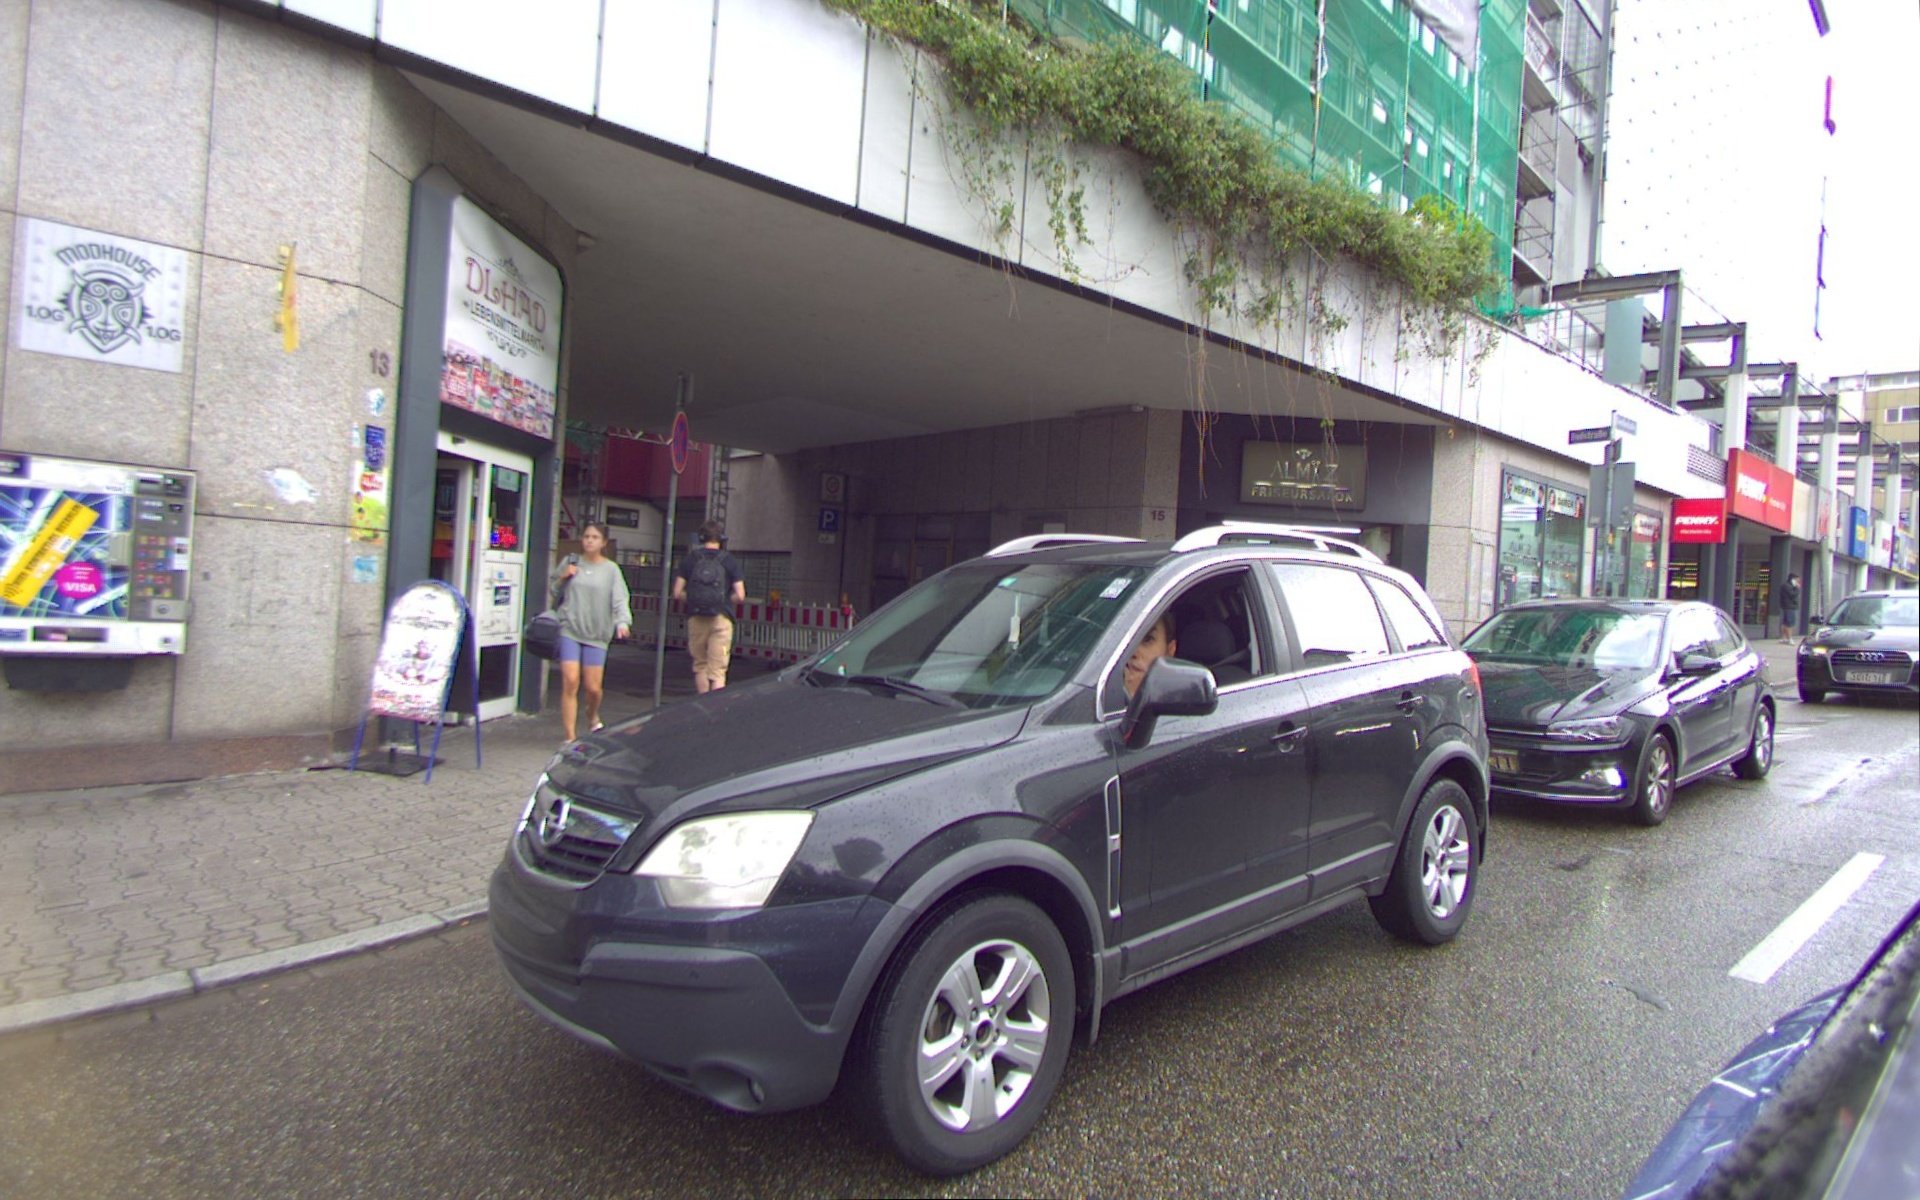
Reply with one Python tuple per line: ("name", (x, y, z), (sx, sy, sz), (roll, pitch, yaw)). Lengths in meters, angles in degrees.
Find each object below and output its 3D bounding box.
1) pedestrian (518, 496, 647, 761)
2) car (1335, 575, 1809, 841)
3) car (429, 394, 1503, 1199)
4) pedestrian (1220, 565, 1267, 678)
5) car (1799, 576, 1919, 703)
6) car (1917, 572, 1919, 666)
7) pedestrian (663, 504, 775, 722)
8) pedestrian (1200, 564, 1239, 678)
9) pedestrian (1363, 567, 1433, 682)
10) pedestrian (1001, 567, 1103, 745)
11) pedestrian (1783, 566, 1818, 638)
("pedestrian", (-2.824, 0.168, 7.536), (0.729, 1.837, 0.774), (0, 5, -32))
("car", (4.828, 0.638, 7.771), (4.086, 1.523, 1.759), (1, 0, -38))
("car", (0.391, 0.508, 3.986), (4.091, 1.788, 1.763), (1, 0, -41))
("pedestrian", (4.164, 0.308, 14.860), (0.630, 1.615, 0.574), (0, 1, 17))
("car", (13.653, 0.482, 14.447), (4.089, 1.628, 1.841), (-1, 1, -39))
("car", (19.735, 0.385, 19.056), (4.088, 1.728, 1.988), (1, 0, -39))
("pedestrian", (-2.159, 0.086, 9.018), (0.757, 1.837, 0.745), (0, 5, -29))
("pedestrian", (3.993, 0.313, 15.605), (0.474, 1.729, 0.467), (-1, 0, 1))
("pedestrian", (6.536, 0.346, 15.111), (0.626, 1.663, 0.735), (-1, 1, -17))
("pedestrian", (1.005, 0.574, 11.093), (0.760, 1.838, 0.743), (0, 3, -40))
("pedestrian", (20.260, 0.031, 24.391), (0.570, 1.699, 0.509), (-1, 3, -42))
